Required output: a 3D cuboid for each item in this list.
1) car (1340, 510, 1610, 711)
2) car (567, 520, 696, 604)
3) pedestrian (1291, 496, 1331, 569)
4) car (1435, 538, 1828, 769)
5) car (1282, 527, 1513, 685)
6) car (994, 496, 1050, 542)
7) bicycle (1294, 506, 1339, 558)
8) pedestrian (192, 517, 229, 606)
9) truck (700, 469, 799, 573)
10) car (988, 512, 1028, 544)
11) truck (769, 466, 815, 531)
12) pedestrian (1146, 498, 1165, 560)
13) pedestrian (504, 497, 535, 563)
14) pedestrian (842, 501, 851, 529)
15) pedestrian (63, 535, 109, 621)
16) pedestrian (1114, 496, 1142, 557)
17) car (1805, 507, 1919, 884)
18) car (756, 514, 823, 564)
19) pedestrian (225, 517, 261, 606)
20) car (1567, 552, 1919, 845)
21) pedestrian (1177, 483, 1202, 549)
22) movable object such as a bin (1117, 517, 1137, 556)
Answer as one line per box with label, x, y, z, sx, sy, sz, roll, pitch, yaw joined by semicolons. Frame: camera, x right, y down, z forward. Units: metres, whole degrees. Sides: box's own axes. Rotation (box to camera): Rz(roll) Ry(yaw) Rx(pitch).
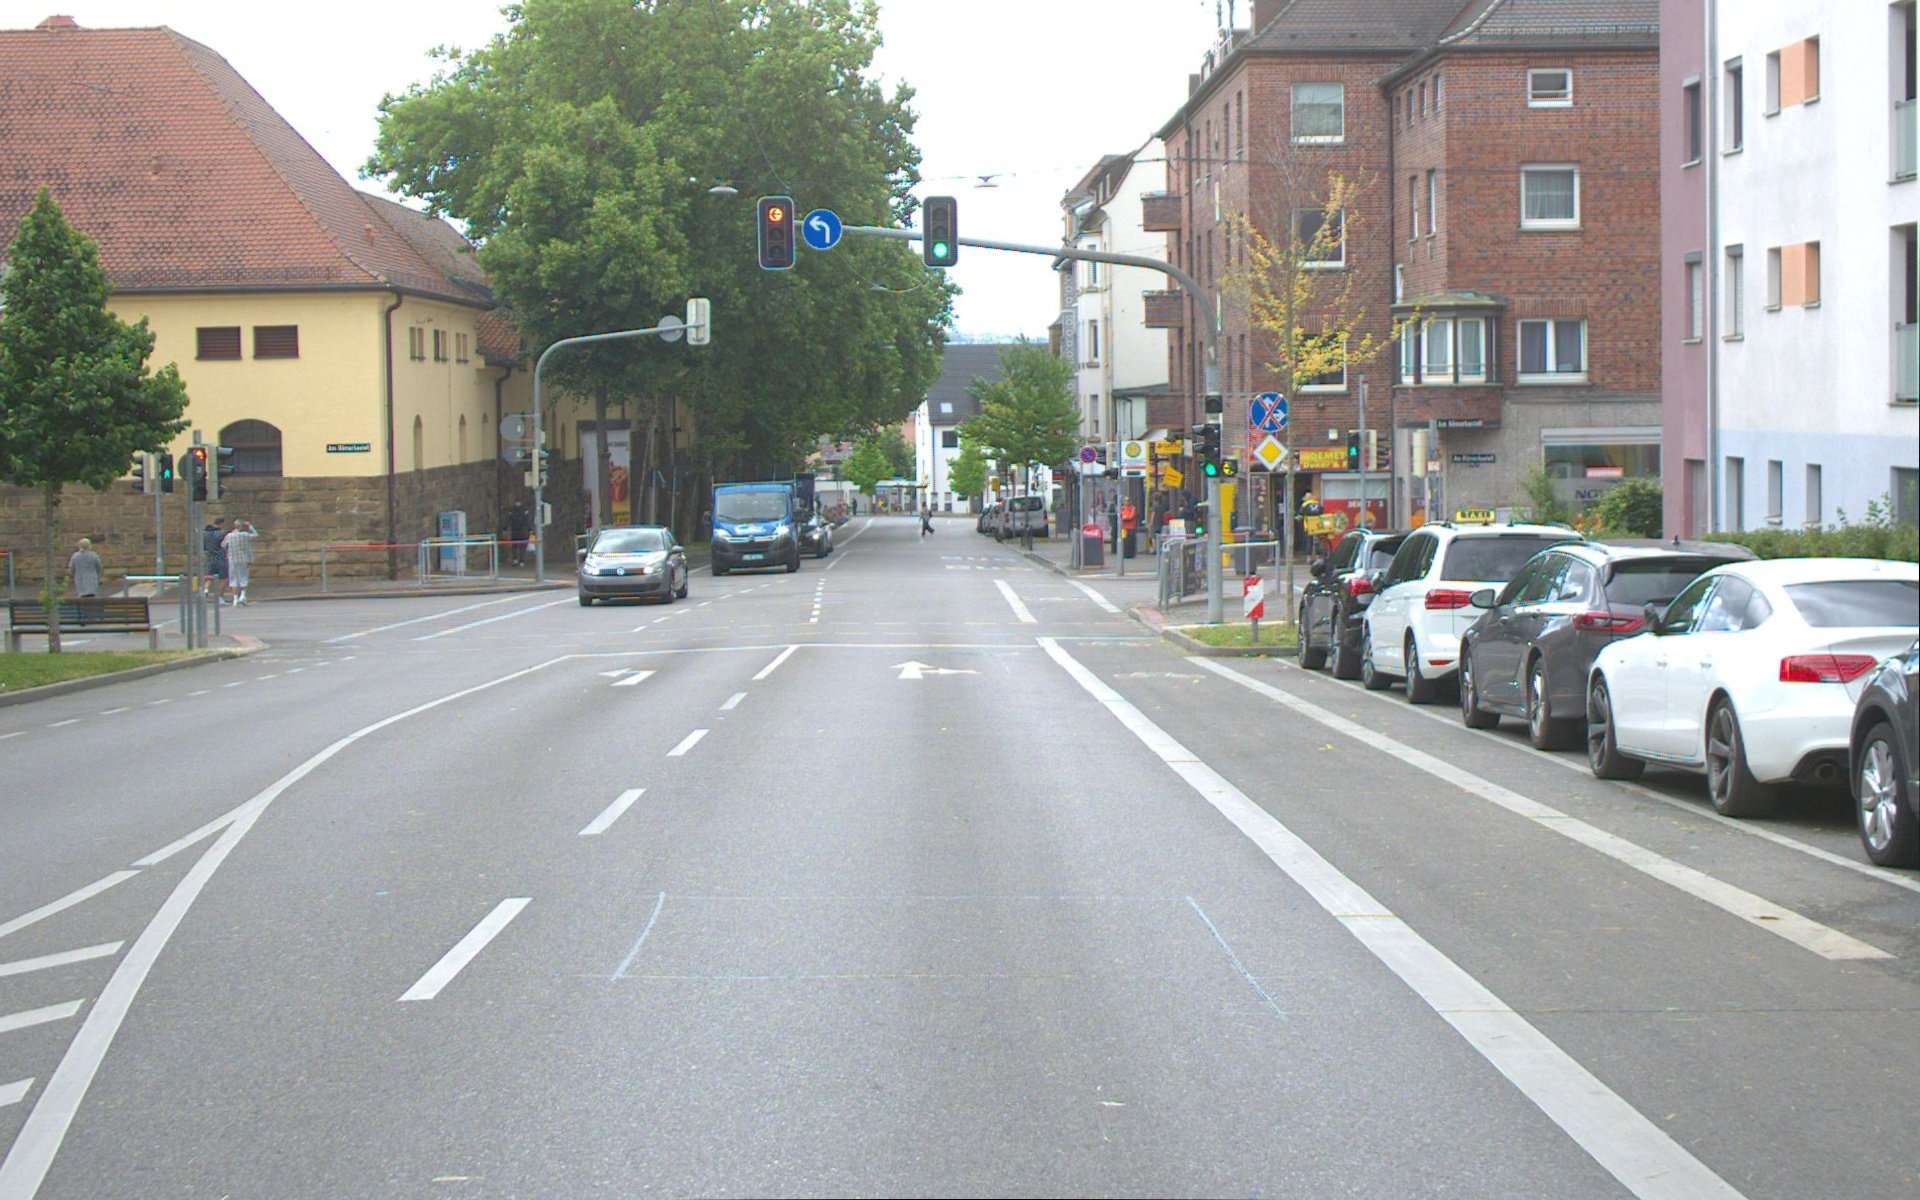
car;4.730;0.036;32.160;1.658;1.710;4.552;1;2;-2
car;-6.247;-0.750;65.767;1.756;1.467;4.306;-2;2;4
pedestrian;8.178;-1.581;80.145;0.788;1.650;0.772;-3;2;0
car;4.827;0.315;25.431;1.745;1.462;4.950;1;2;-2
car;4.662;0.028;37.217;1.734;1.583;4.573;1;1;-2
car;2.606;-3.451;145.765;1.993;1.929;4.920;0;2;-3
bicycle;8.257;-1.583;79.762;0.760;1.189;2.392;0;2;-1
pedestrian;-15.138;-0.780;69.416;0.564;1.771;0.842;0;2;-1
truck;-5.250;-1.985;85.830;2.295;2.419;6.412;-2;2;-3
car;2.352;-3.540;169.698;1.668;1.542;3.757;0;2;-3
truck;-8.871;-5.373;181.942;2.231;3.335;7.450;0;2;-1
pedestrian;5.547;-2.008;97.589;0.479;1.759;0.458;0;1;-1
pedestrian;-11.724;-1.872;91.564;0.674;1.759;0.725;0;1;3
pedestrian;-8.081;-6.066;244.932;0.633;2.006;0.784;0;1;1
pedestrian;-15.959;-0.407;62.779;0.564;1.561;0.842;0;2;5
pedestrian;4.564;-1.995;93.360;0.565;1.631;0.680;0;2;20
car;5.043;0.440;14.463;1.631;1.644;4.357;1;1;-4
car;-5.133;-1.872;104.090;1.703;1.409;4.192;-2;2;1
pedestrian;-14.355;-0.775;68.836;0.564;1.771;0.717;0;2;-1
car;4.823;0.478;19.673;1.730;1.408;4.500;1;2;-2
pedestrian;6.048;-2.210;90.490;0.647;1.744;0.778;0;2;5
movable object such as a bin;4.532;-1.720;93.160;0.453;1.053;0.410;0;1;19
